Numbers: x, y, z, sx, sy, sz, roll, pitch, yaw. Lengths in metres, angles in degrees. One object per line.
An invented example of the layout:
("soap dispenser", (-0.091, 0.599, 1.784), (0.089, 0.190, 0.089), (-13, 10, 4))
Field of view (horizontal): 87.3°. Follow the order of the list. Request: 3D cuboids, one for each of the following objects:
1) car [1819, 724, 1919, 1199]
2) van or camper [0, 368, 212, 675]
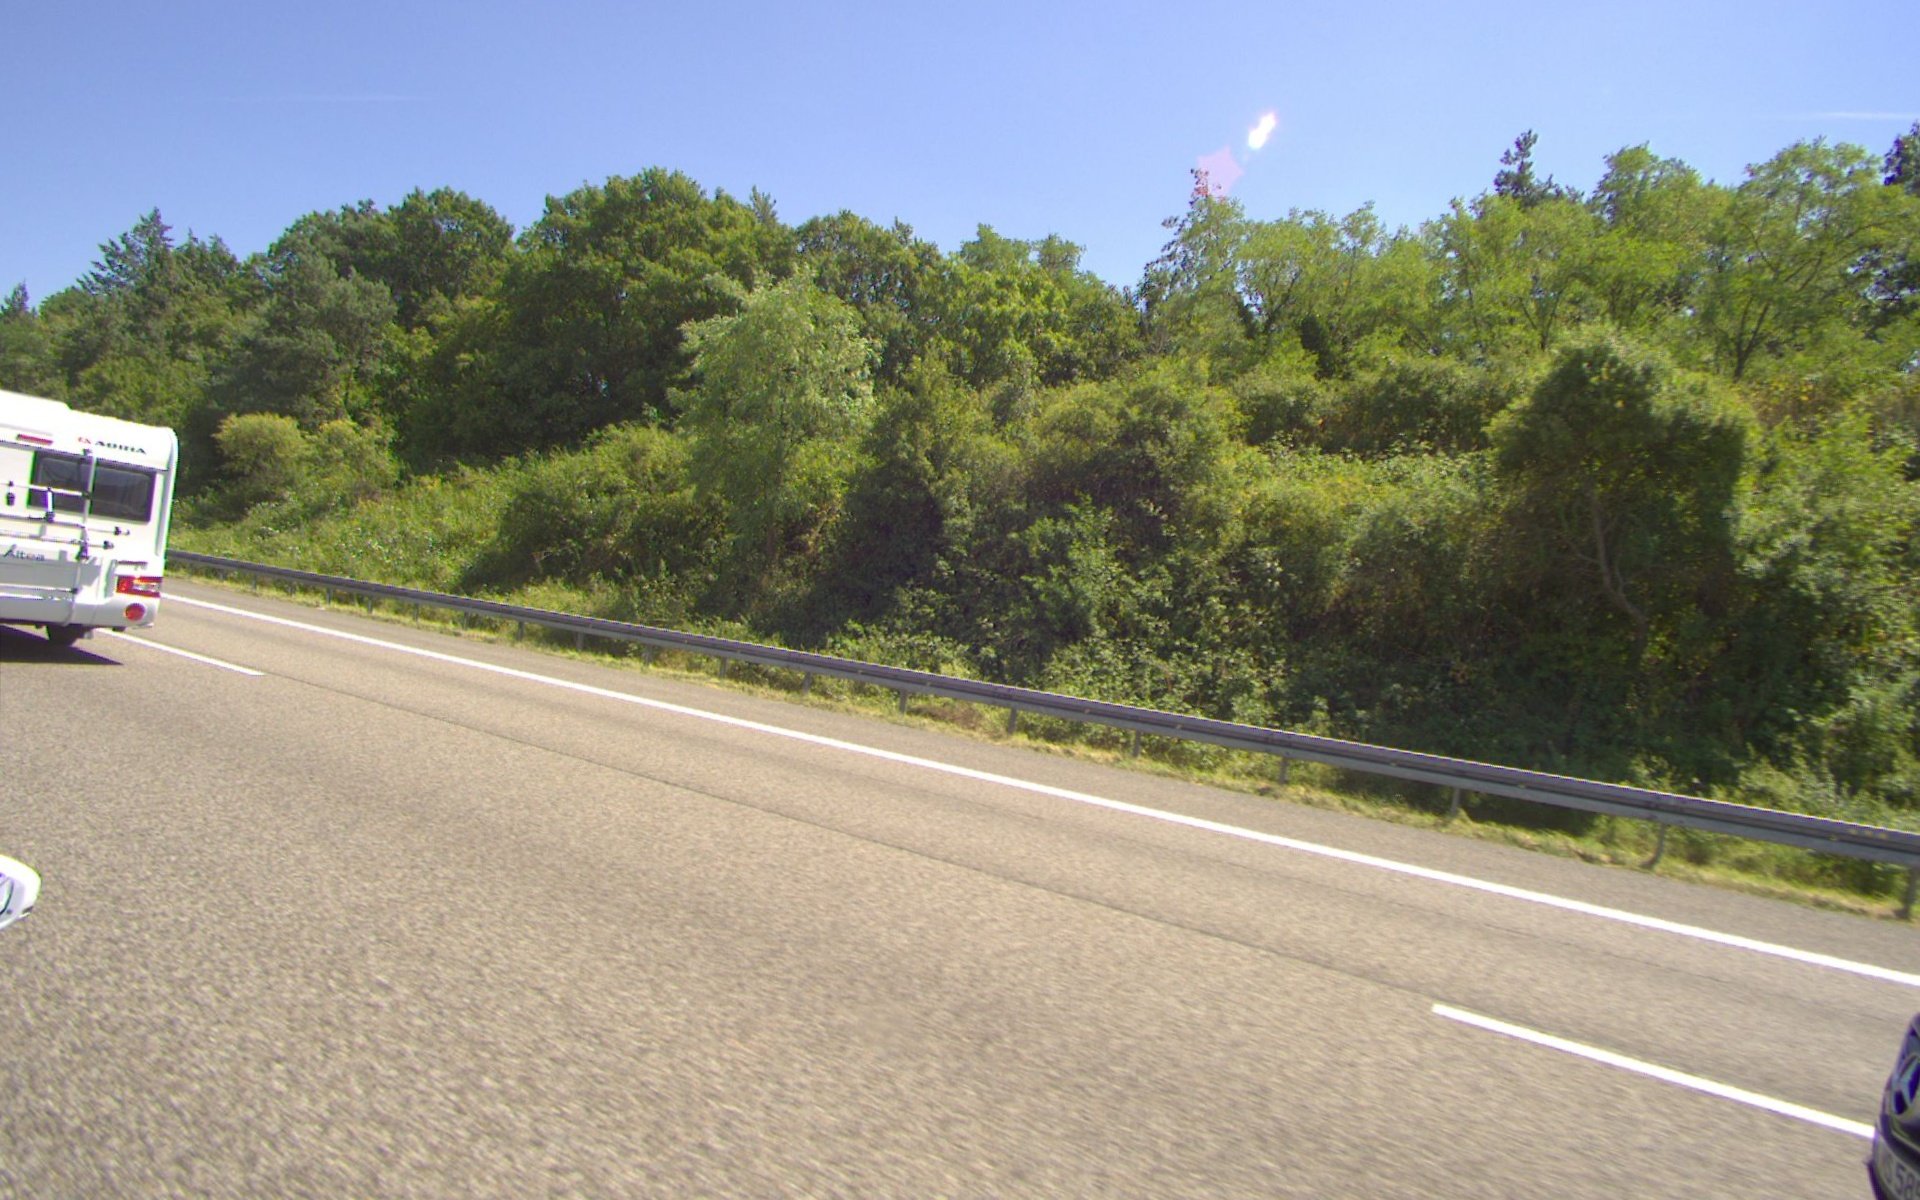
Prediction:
("car", (4.550, 1.313, 1.457), (4.660, 1.523, 1.844), (6, -2, 32))
("van or camper", (-11.058, -0.984, 10.856), (6.244, 2.707, 2.442), (7, 0, 31))
